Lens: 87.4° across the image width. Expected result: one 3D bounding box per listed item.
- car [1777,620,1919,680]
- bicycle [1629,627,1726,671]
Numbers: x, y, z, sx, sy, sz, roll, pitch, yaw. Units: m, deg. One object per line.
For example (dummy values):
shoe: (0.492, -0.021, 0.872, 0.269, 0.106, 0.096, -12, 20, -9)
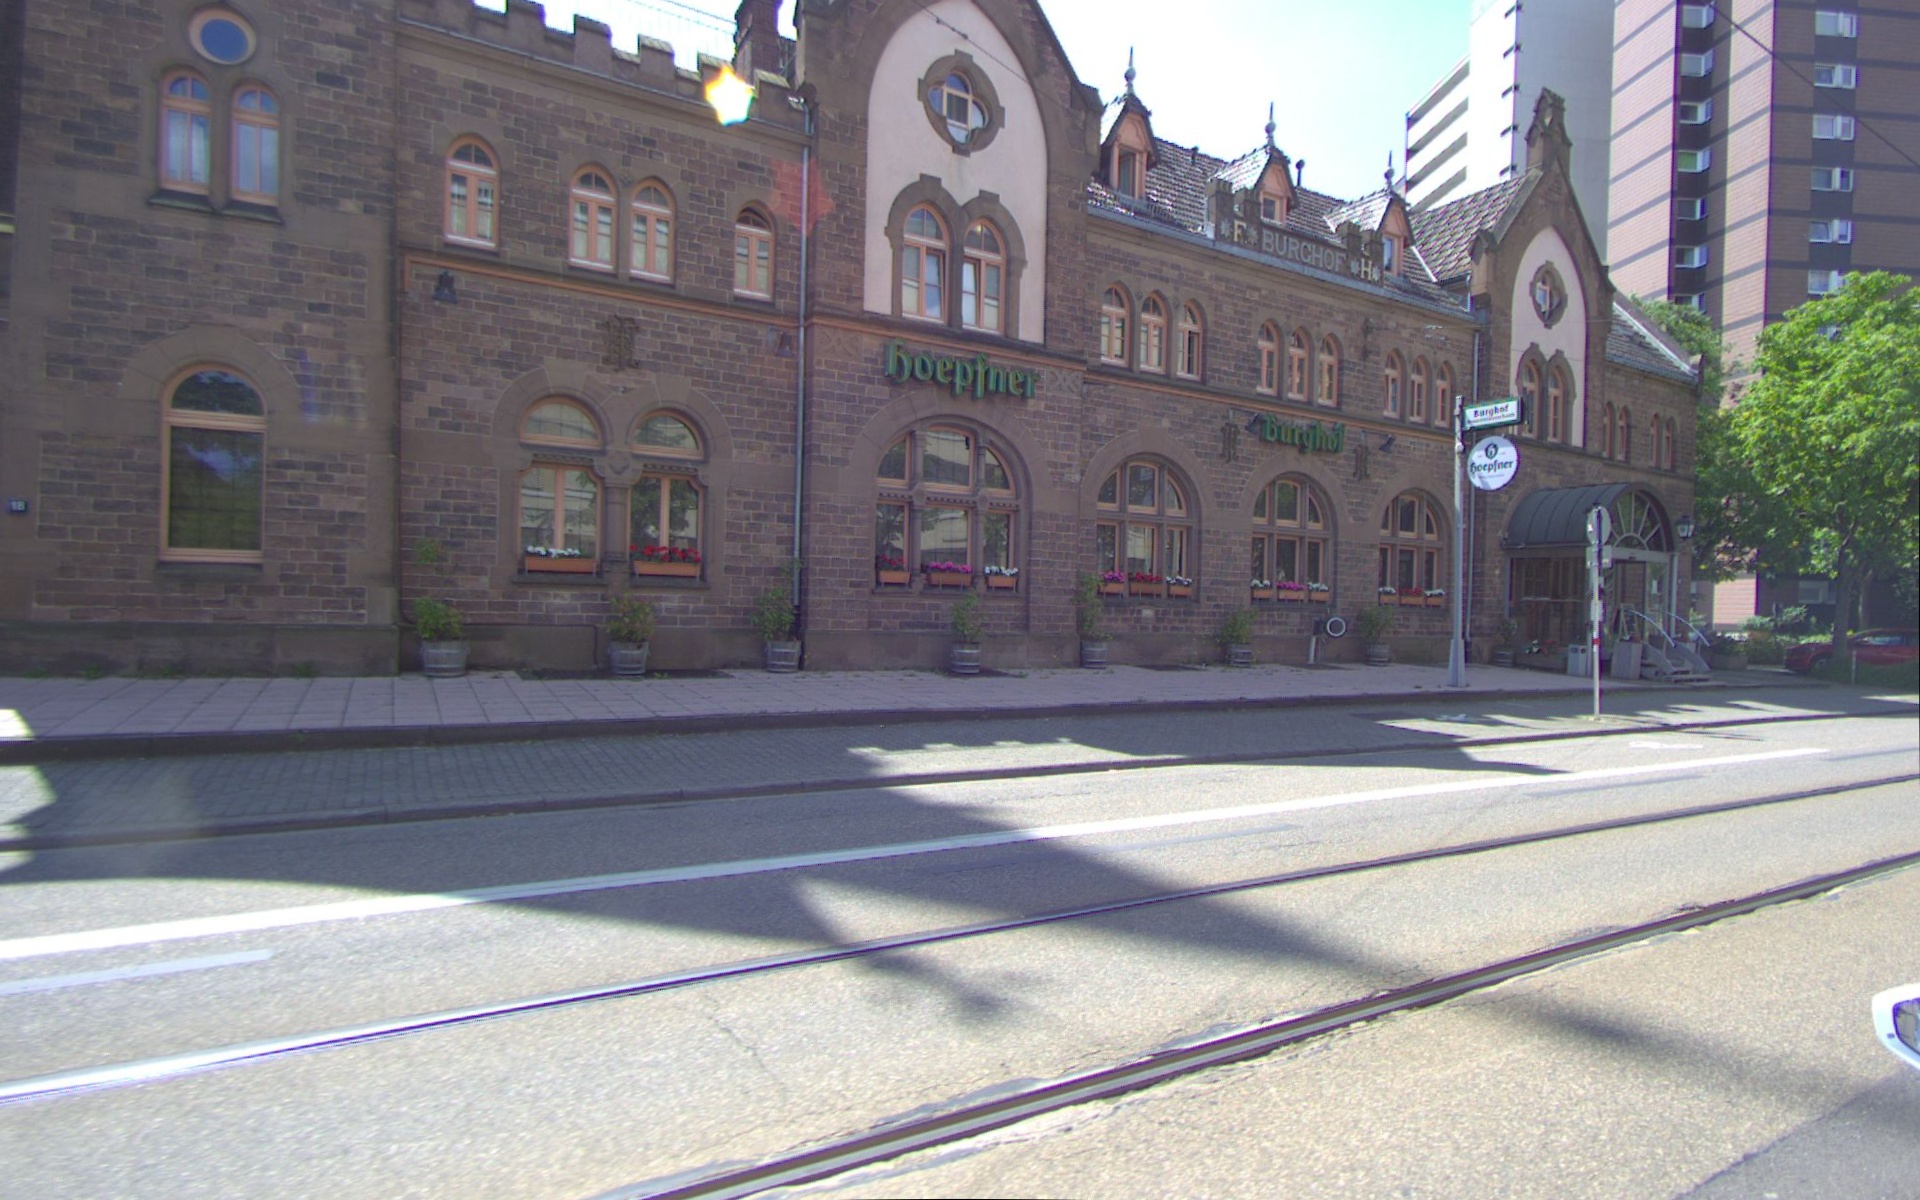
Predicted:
car: (27.011, 1.452, 29.276, 4.697, 1.587, 1.997, 2, 0, 32)
bicycle: (18.929, 1.279, 26.532, 1.974, 0.903, 0.594, 8, 5, 44)
